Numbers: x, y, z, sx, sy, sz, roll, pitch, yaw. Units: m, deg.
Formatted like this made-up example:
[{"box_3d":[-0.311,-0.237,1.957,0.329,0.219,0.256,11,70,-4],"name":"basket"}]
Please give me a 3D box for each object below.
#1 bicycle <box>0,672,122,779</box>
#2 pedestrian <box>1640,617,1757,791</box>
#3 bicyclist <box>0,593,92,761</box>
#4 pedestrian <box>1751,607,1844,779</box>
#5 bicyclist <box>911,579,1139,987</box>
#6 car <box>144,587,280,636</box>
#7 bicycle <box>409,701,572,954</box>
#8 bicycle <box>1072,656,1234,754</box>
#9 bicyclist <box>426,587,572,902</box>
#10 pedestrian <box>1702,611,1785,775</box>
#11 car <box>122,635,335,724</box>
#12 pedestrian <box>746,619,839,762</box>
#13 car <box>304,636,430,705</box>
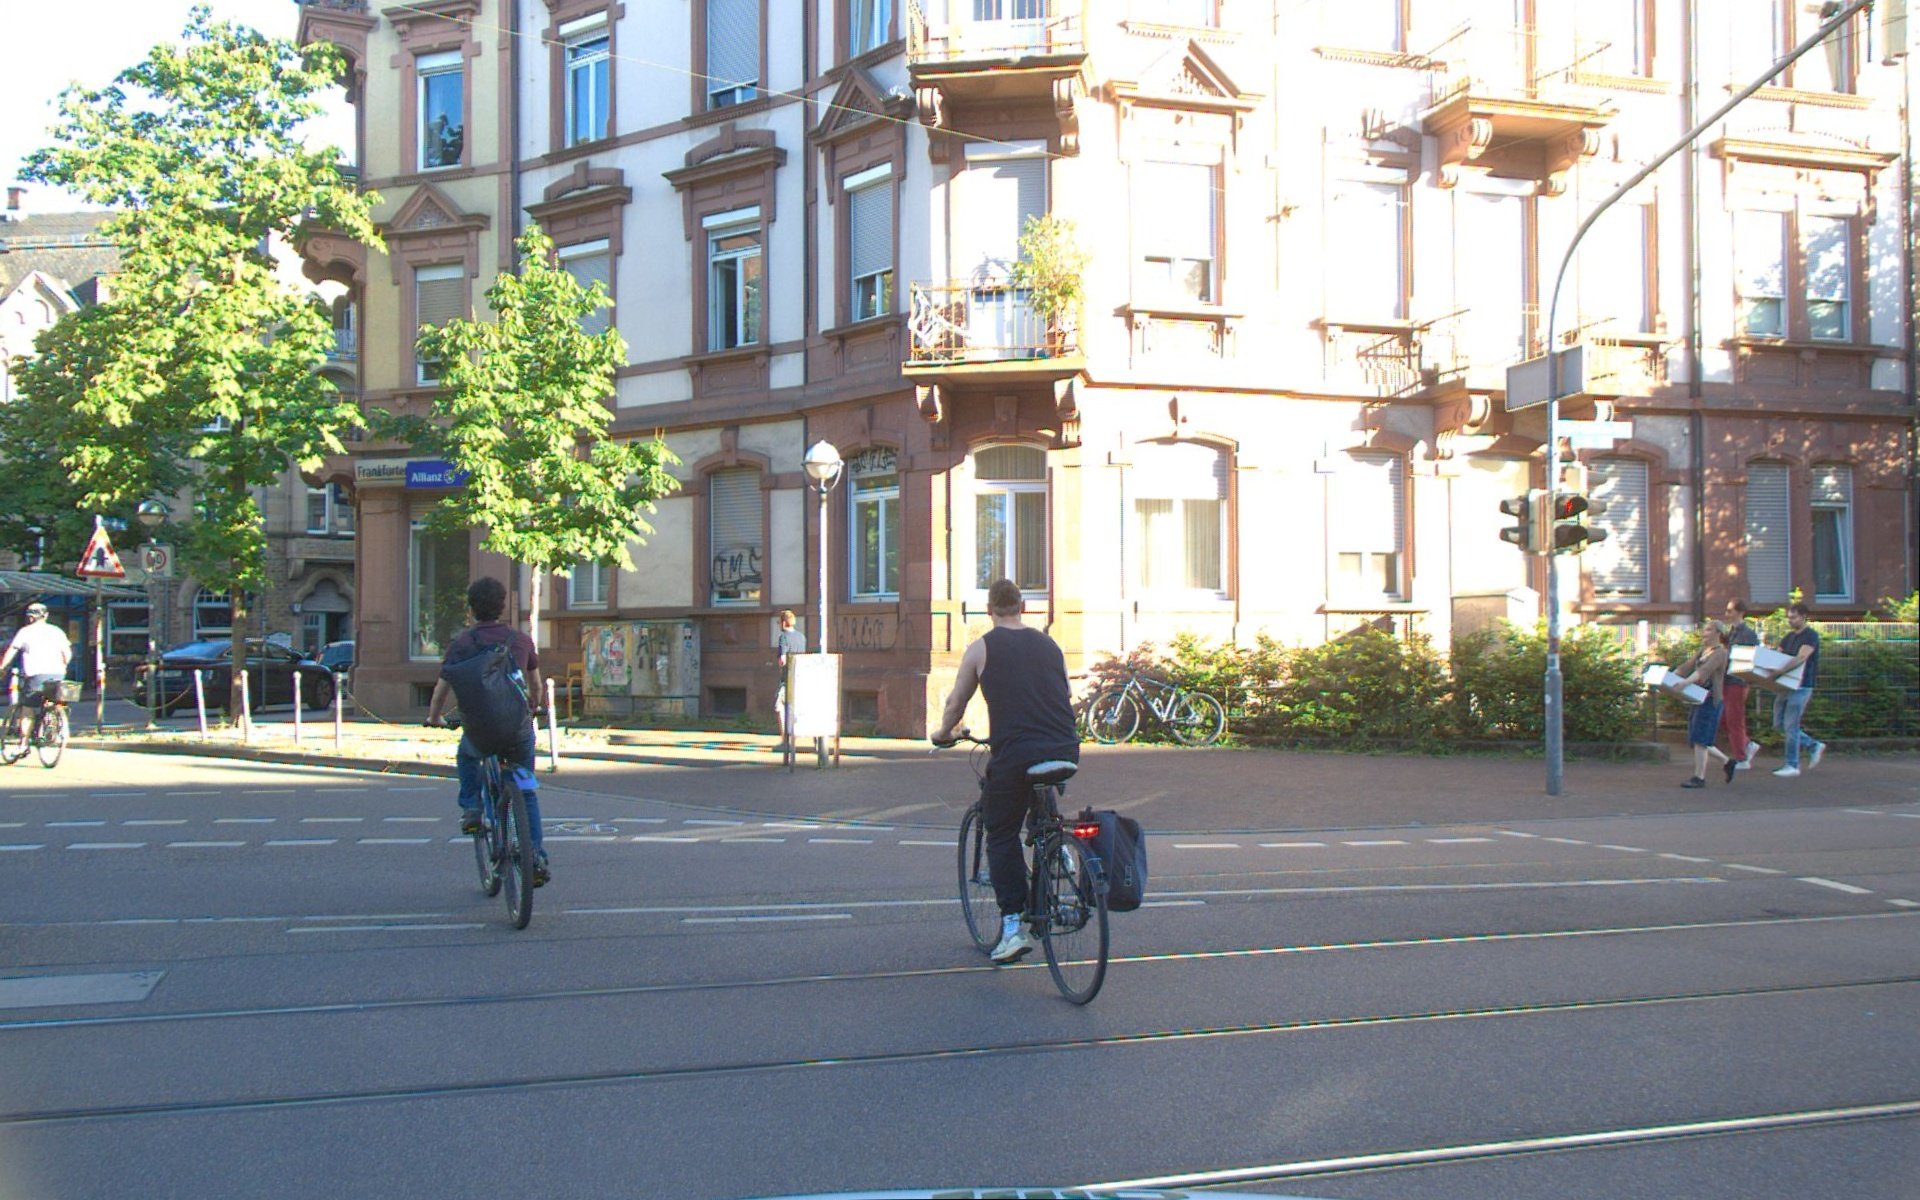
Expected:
[{"box_3d":[-11.096,1.471,19.791,2.177,1.205,0.811,-1,-2,29],"name":"bicycle"},{"box_3d":[7.460,1.033,16.735,0.876,1.694,0.712,0,1,2],"name":"pedestrian"},{"box_3d":[-11.046,0.901,19.773,0.924,1.947,0.796,-1,-2,28],"name":"bicyclist"},{"box_3d":[8.756,0.956,17.312,0.621,1.745,0.663,0,1,-2],"name":"pedestrian"},{"box_3d":[0.265,0.775,7.451,0.676,1.685,0.983,0,-3,-20],"name":"bicyclist"},{"box_3d":[-26.124,0.431,57.800,3.902,1.676,1.880,0,-1,8],"name":"car"},{"box_3d":[-2.489,1.151,8.953,0.704,1.127,1.961,0,-1,-12],"name":"bicycle"},{"box_3d":[2.385,1.279,20.469,1.919,1.127,0.443,1,-1,19],"name":"bicycle"},{"box_3d":[-2.474,0.744,8.961,0.694,1.601,0.954,0,-1,-12],"name":"bicyclist"},{"box_3d":[8.500,1.003,17.964,0.621,1.745,0.521,0,-2,-2],"name":"pedestrian"},{"box_3d":[-14.424,1.522,32.895,1.753,1.639,4.372,0,-1,9],"name":"car"},{"box_3d":[-2.037,1.072,20.120,0.889,1.663,0.721,1,1,43],"name":"pedestrian"},{"box_3d":[-13.569,1.585,37.998,1.469,1.483,3.209,0,-1,6],"name":"car"}]
